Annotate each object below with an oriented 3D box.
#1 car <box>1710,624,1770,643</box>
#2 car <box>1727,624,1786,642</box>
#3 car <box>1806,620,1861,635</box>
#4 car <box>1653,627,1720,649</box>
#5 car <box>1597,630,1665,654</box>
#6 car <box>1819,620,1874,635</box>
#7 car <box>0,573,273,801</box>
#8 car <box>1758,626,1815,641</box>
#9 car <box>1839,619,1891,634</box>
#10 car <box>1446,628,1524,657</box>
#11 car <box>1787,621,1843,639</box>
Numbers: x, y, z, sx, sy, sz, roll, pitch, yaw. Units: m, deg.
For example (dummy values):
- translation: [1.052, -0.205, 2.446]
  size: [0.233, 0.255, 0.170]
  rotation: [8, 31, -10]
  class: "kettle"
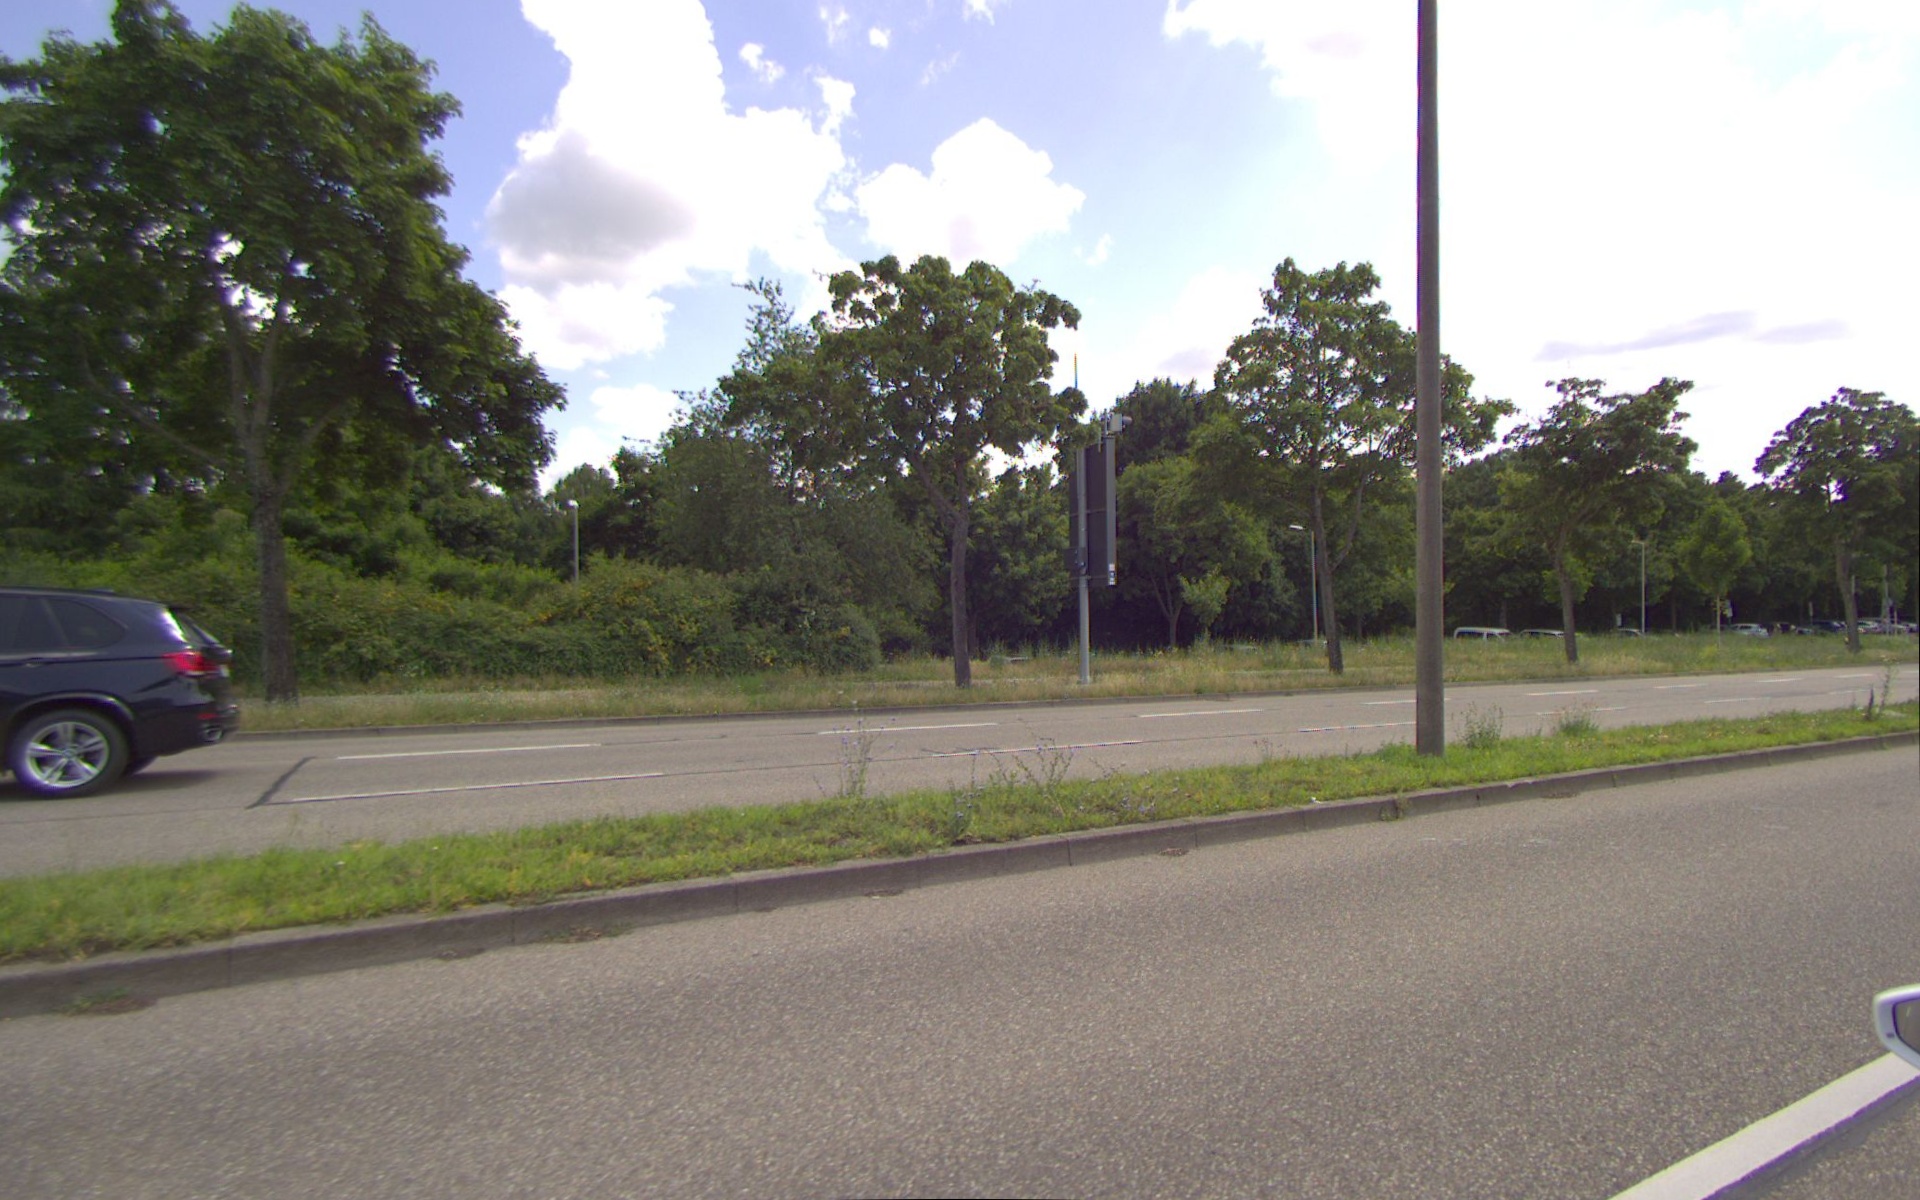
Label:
- translation: [68.047, 2.898, 87.643]
  size: [1.765, 1.447, 3.764]
  rotation: [0, 1, -32]
  class: "car"
- translation: [70.672, 2.901, 89.128]
  size: [1.765, 1.405, 3.764]
  rotation: [0, 1, -32]
  class: "car"
- translation: [87.372, 2.755, 100.489]
  size: [1.763, 1.406, 3.770]
  rotation: [0, 1, -28]
  class: "car"
- translation: [56.030, 2.933, 77.523]
  size: [1.764, 1.528, 3.767]
  rotation: [0, 1, -30]
  class: "car"
- translation: [49.013, 3.047, 73.444]
  size: [1.764, 1.528, 3.767]
  rotation: [0, 1, -30]
  class: "car"
- translation: [90.076, 2.776, 102.110]
  size: [1.763, 1.406, 3.770]
  rotation: [0, 1, -28]
  class: "car"
- translation: [-8.702, 0.723, 8.443]
  size: [4.675, 1.813, 1.867]
  rotation: [1, -3, -31]
  class: "car"
- translation: [76.620, 3.084, 93.135]
  size: [1.765, 1.264, 3.764]
  rotation: [0, 1, -32]
  class: "car"
- translation: [95.394, 2.744, 105.924]
  size: [1.763, 1.406, 3.770]
  rotation: [0, 1, -28]
  class: "car"
- translation: [33.568, 2.679, 64.299]
  size: [1.979, 1.647, 3.963]
  rotation: [0, 1, -33]
  class: "car"
- translation: [82.833, 2.887, 97.309]
  size: [1.763, 1.589, 3.770]
  rotation: [0, 1, -28]
  class: "car"
